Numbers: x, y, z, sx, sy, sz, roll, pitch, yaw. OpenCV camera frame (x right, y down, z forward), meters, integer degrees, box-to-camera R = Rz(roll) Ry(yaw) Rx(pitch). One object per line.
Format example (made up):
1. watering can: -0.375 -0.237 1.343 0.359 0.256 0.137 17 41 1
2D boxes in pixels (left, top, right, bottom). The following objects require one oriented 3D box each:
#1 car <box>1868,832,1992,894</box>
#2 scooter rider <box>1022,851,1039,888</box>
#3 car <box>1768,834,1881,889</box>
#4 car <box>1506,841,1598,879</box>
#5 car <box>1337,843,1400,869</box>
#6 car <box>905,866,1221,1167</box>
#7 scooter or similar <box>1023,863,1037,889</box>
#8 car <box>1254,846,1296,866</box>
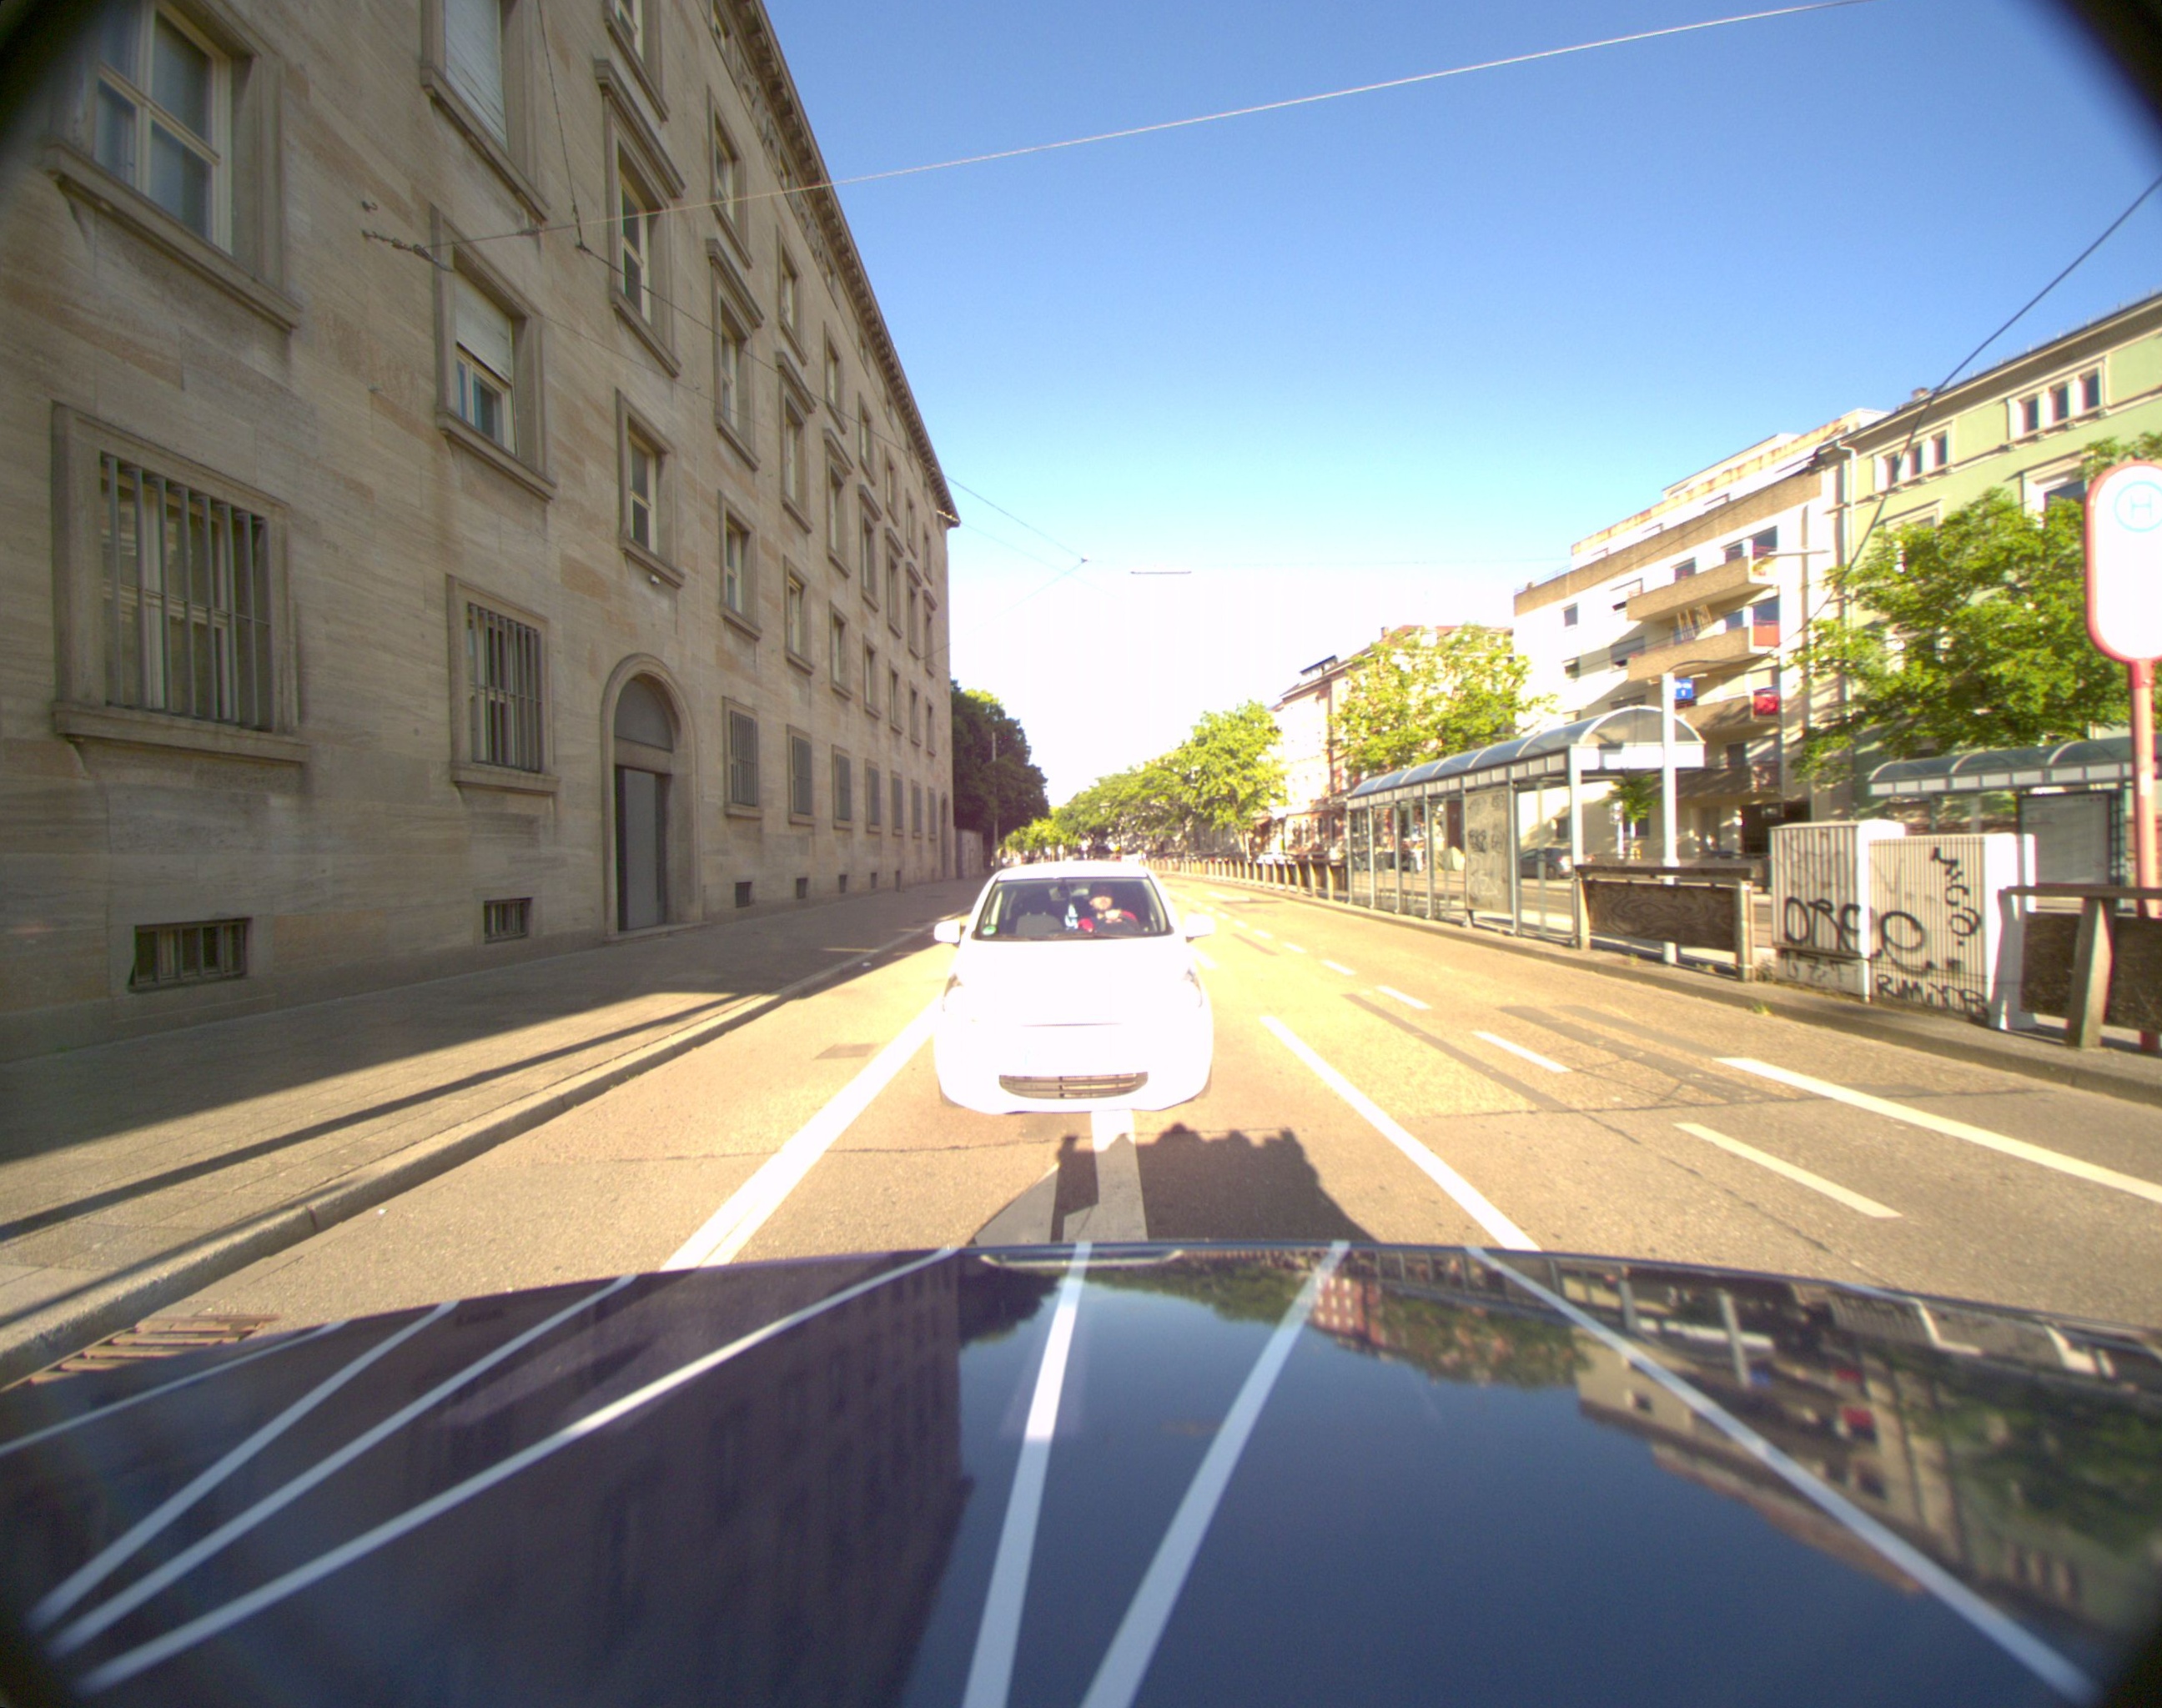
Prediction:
1. car: 24.467 0.227 21.889 3.605 1.558 1.627 -3 1 -29
2. scooter rider: -2.317 0.696 34.902 0.731 1.661 0.556 -1 1 0
3. car: 23.888 0.221 24.402 3.605 1.558 1.627 -3 1 -29
4. car: 20.919 0.227 33.931 1.631 1.558 3.598 -2 1 -5
5. car: 19.548 0.118 51.722 3.599 1.558 1.630 -2 1 -7
6. car: -0.070 0.885 5.808 1.612 1.462 3.631 -2 0 1
7. scooter or similar: -2.317 1.003 34.885 0.536 1.178 1.328 -1 0 0
8. car: 16.263 0.148 63.476 3.607 1.558 1.627 -3 1 -42
